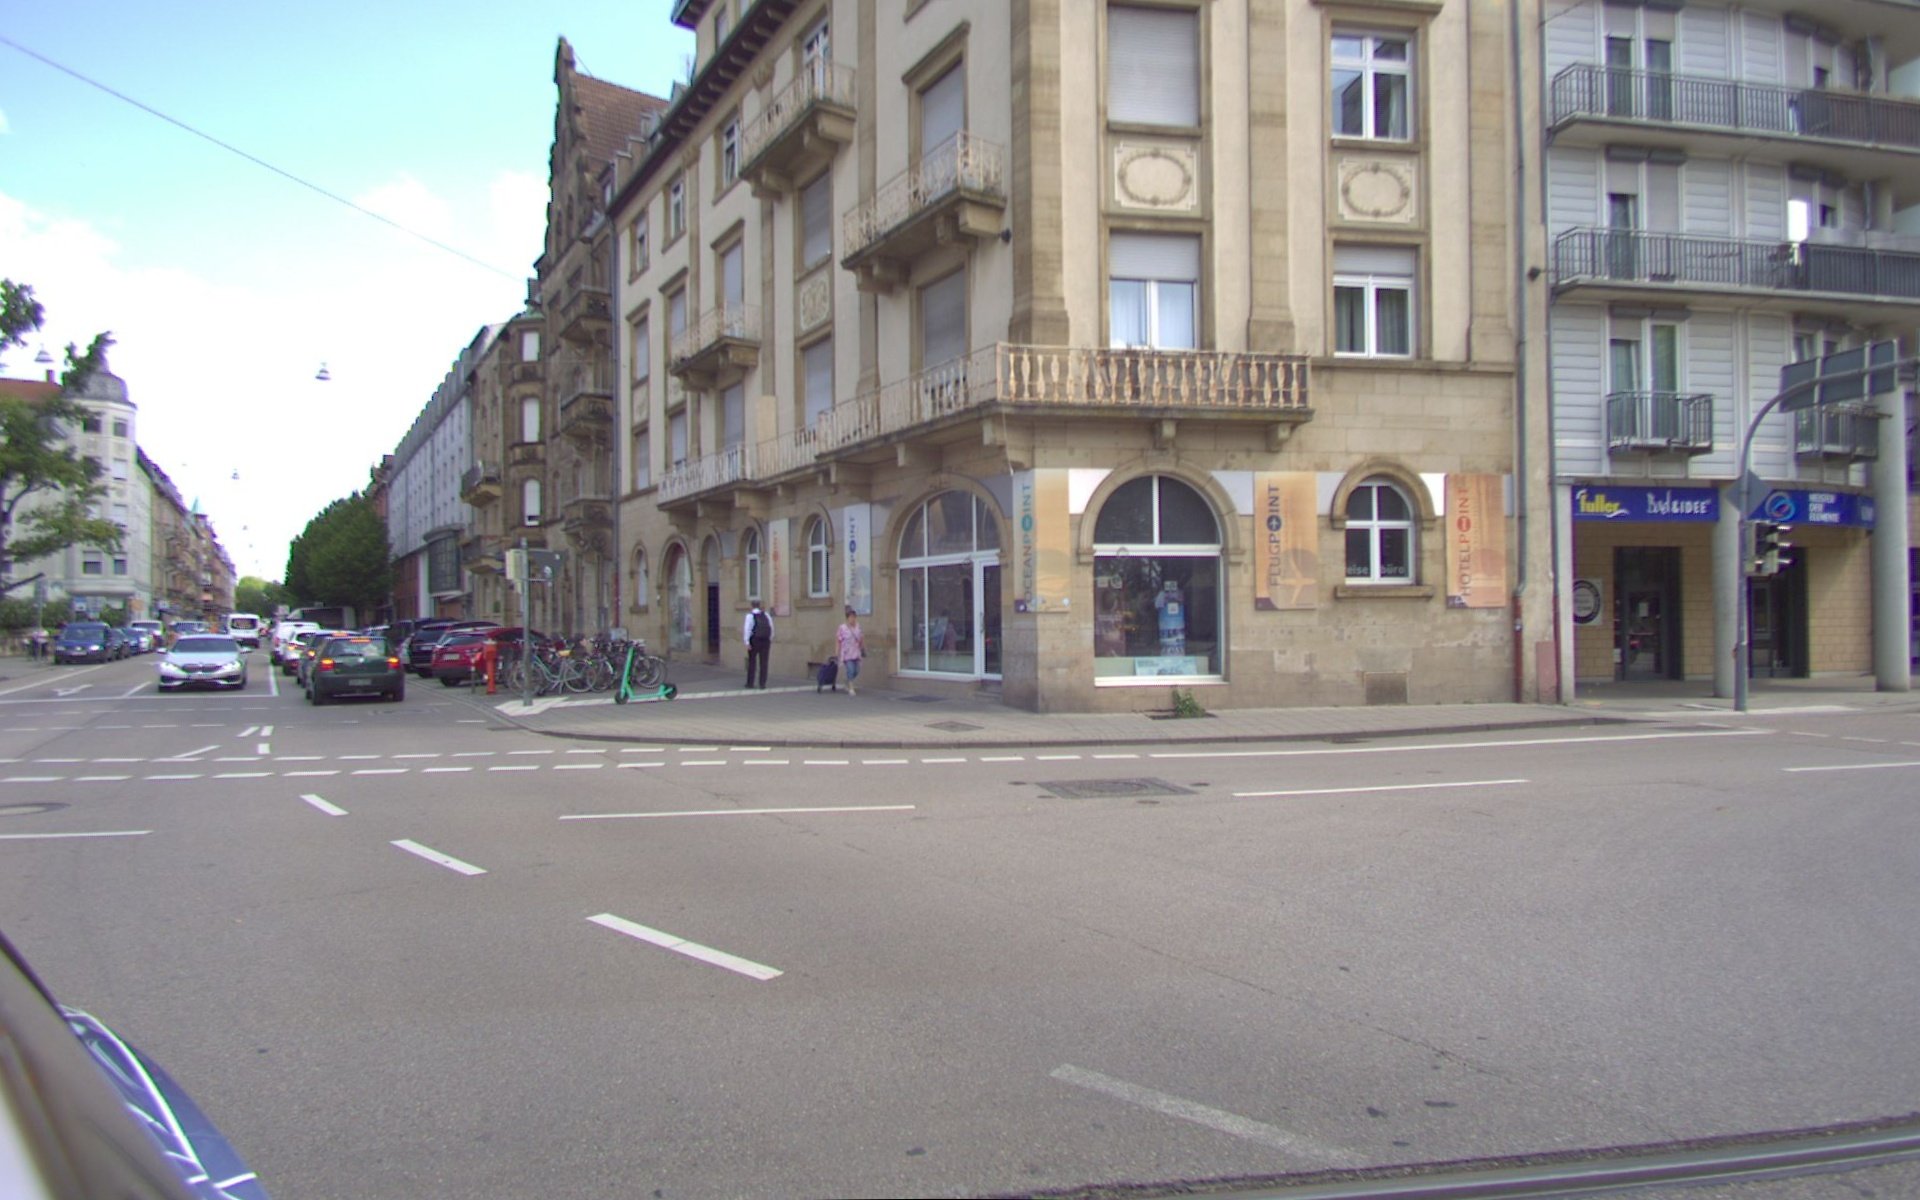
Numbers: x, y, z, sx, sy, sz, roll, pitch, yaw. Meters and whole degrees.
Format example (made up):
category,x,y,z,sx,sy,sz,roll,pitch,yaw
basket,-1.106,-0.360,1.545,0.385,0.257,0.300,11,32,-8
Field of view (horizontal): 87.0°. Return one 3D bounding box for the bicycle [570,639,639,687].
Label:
category,x,y,z,sx,sy,sz,roll,pitch,yaw
bicycle,-8.536,1.501,24.304,1.459,1.060,0.464,-2,-1,-33

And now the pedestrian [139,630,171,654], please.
category,x,y,z,sx,sy,sz,roll,pitch,yaw
pedestrian,-60.322,3.175,75.875,1.360,1.771,1.309,-1,-2,12

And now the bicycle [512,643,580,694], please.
category,x,y,z,sx,sy,sz,roll,pitch,yaw
bicycle,-9.475,1.547,23.161,1.350,1.060,0.419,-2,-1,-36

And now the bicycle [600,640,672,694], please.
category,x,y,z,sx,sy,sz,roll,pitch,yaw
bicycle,-7.011,1.438,21.899,1.418,1.060,0.482,-2,-1,-25

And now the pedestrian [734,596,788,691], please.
category,x,y,z,sx,sy,sz,roll,pitch,yaw
pedestrian,-4.078,0.870,20.717,0.792,1.874,0.908,0,1,-34

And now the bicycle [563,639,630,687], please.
category,x,y,z,sx,sy,sz,roll,pitch,yaw
bicycle,-8.890,1.527,24.766,1.460,1.060,0.463,-2,-1,-37

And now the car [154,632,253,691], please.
category,x,y,z,sx,sy,sz,roll,pitch,yaw
car,-20.312,1.606,27.336,1.797,1.459,4.398,3,-3,-33

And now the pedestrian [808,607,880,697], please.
category,x,y,z,sx,sy,sz,roll,pitch,yaw
pedestrian,-2.201,0.965,19.149,0.928,1.607,0.998,-3,0,-33

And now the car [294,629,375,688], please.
category,x,y,z,sx,sy,sz,roll,pitch,yaw
car,-17.950,1.623,28.983,1.724,1.552,3.941,1,-2,-35

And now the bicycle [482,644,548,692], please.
category,x,y,z,sx,sy,sz,roll,pitch,yaw
bicycle,-11.004,1.672,25.081,0.552,1.060,1.807,-2,-1,10

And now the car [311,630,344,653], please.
category,x,y,z,sx,sy,sz,roll,pitch,yaw
car,-43.862,2.842,70.106,1.861,1.577,3.901,1,-2,-33

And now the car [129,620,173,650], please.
category,x,y,z,sx,sy,sz,roll,pitch,yaw
car,-53.315,2.290,66.756,1.814,1.953,4.197,1,-2,-33

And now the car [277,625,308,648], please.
category,x,y,z,sx,sy,sz,roll,pitch,yaw
car,-49.833,2.717,75.583,1.861,1.664,3.901,1,-2,-33

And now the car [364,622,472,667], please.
category,x,y,z,sx,sy,sz,roll,pitch,yaw
car,-22.973,1.874,43.058,1.716,1.597,3.934,-2,1,16

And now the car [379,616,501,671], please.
category,x,y,z,sx,sy,sz,roll,pitch,yaw
car,-19.613,1.593,38.325,1.719,1.882,3.925,-2,0,22

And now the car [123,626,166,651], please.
category,x,y,z,sx,sy,sz,roll,pitch,yaw
car,-50.741,2.360,63.002,1.656,1.508,3.901,1,-2,-33

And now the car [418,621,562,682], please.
category,x,y,z,sx,sy,sz,roll,pitch,yaw
car,-13.831,1.487,30.030,1.715,1.468,3.936,-4,0,15

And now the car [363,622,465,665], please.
category,x,y,z,sx,sy,sz,roll,pitch,yaw
car,-24.461,1.909,45.472,1.716,1.597,3.934,-3,1,16

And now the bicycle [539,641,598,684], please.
category,x,y,z,sx,sy,sz,roll,pitch,yaw
bicycle,-10.584,1.677,27.422,0.552,1.060,1.898,-2,-1,11

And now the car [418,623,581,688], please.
category,x,y,z,sx,sy,sz,roll,pitch,yaw
car,-12.363,1.461,27.446,1.797,1.468,3.977,-3,0,18

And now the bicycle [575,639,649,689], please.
category,x,y,z,sx,sy,sz,roll,pitch,yaw
bicycle,-8.136,1.474,23.665,1.555,1.060,0.482,-2,-1,-26

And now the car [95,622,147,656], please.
category,x,y,z,sx,sy,sz,roll,pitch,yaw
car,-45.239,2.088,54.632,1.656,1.805,4.011,1,-2,-33

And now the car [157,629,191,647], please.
category,x,y,z,sx,sy,sz,roll,pitch,yaw
car,-63.543,3.068,81.843,1.780,1.378,4.197,1,-2,-33

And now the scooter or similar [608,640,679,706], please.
category,x,y,z,sx,sy,sz,roll,pitch,yaw
scooter or similar,-6.024,1.382,19.300,1.232,1.155,0.482,-2,0,-16

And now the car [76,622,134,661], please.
category,x,y,z,sx,sy,sz,roll,pitch,yaw
car,-41.673,2.014,49.382,1.656,1.805,4.011,1,-2,-33

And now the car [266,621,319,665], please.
category,x,y,z,sx,sy,sz,roll,pitch,yaw
car,-28.819,1.857,43.657,1.788,1.789,4.294,2,-4,-35

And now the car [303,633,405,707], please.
category,x,y,z,sx,sy,sz,roll,pitch,yaw
car,-13.509,1.480,22.466,1.690,1.444,3.828,2,-2,-34

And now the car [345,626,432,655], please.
category,x,y,z,sx,sy,sz,roll,pitch,yaw
car,-29.872,2.110,53.017,1.716,1.485,3.933,-1,-2,16

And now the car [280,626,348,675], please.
category,x,y,z,sx,sy,sz,roll,pitch,yaw
car,-22.673,1.715,35.464,1.747,1.594,4.029,0,-1,-36

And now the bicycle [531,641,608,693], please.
category,x,y,z,sx,sy,sz,roll,pitch,yaw
bicycle,-8.764,1.496,22.725,1.555,1.060,0.482,-2,-1,-26

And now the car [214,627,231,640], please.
category,x,y,z,sx,sy,sz,roll,pitch,yaw
car,-108.747,4.919,149.200,1.780,1.779,4.197,1,-2,-33

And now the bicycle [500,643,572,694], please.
category,x,y,z,sx,sy,sz,roll,pitch,yaw
bicycle,-9.814,1.570,23.448,1.459,1.060,0.463,-2,-1,-34

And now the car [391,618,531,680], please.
category,x,y,z,sx,sy,sz,roll,pitch,yaw
car,-15.817,1.511,32.301,1.787,1.702,3.933,-3,0,16

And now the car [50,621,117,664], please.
category,x,y,z,sx,sy,sz,roll,pitch,yaw
car,-38.761,1.848,44.854,1.656,1.805,4.156,1,-2,-33

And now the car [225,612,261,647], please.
category,x,y,z,sx,sy,sz,roll,pitch,yaw
car,-53.287,2.247,75.246,2.048,2.464,5.959,3,-4,-35

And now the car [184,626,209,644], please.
category,x,y,z,sx,sy,sz,roll,pitch,yaw
car,-79.095,3.613,104.847,1.780,1.779,4.197,1,-2,-33

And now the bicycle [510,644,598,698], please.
category,x,y,z,sx,sy,sz,roll,pitch,yaw
bicycle,-8.746,1.525,21.872,1.707,1.060,0.532,-2,-1,-18

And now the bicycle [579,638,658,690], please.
category,x,y,z,sx,sy,sz,roll,pitch,yaw
bicycle,-7.681,1.433,22.779,1.586,1.060,0.482,-2,-1,-26

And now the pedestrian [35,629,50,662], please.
category,x,y,z,sx,sy,sz,roll,pitch,yaw
pedestrian,-41.941,2.070,46.253,0.459,1.466,0.557,1,-2,-39

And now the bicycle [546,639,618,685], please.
category,x,y,z,sx,sy,sz,roll,pitch,yaw
bicycle,-9.605,1.567,25.713,1.605,1.060,0.559,-2,-1,-35

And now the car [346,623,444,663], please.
category,x,y,z,sx,sy,sz,roll,pitch,yaw
car,-26.700,1.989,47.962,1.716,1.597,3.934,-3,0,16

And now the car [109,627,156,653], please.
category,x,y,z,sx,sy,sz,roll,pitch,yaw
car,-47.850,2.318,58.583,1.656,1.458,3.808,1,-2,-33

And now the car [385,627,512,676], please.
category,x,y,z,sx,sy,sz,roll,pitch,yaw
car,-18.050,1.797,35.898,1.717,1.440,3.931,-4,-1,18

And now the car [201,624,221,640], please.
category,x,y,z,sx,sy,sz,roll,pitch,yaw
car,-95.329,4.073,128.890,1.780,1.927,4.197,1,-2,-33

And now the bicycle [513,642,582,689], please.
category,x,y,z,sx,sy,sz,roll,pitch,yaw
bicycle,-10.052,1.577,24.672,1.460,1.060,0.463,-1,-1,-38

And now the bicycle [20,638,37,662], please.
category,x,y,z,sx,sy,sz,roll,pitch,yaw
bicycle,-42.330,2.259,45.979,0.473,1.060,1.446,1,-2,-39
